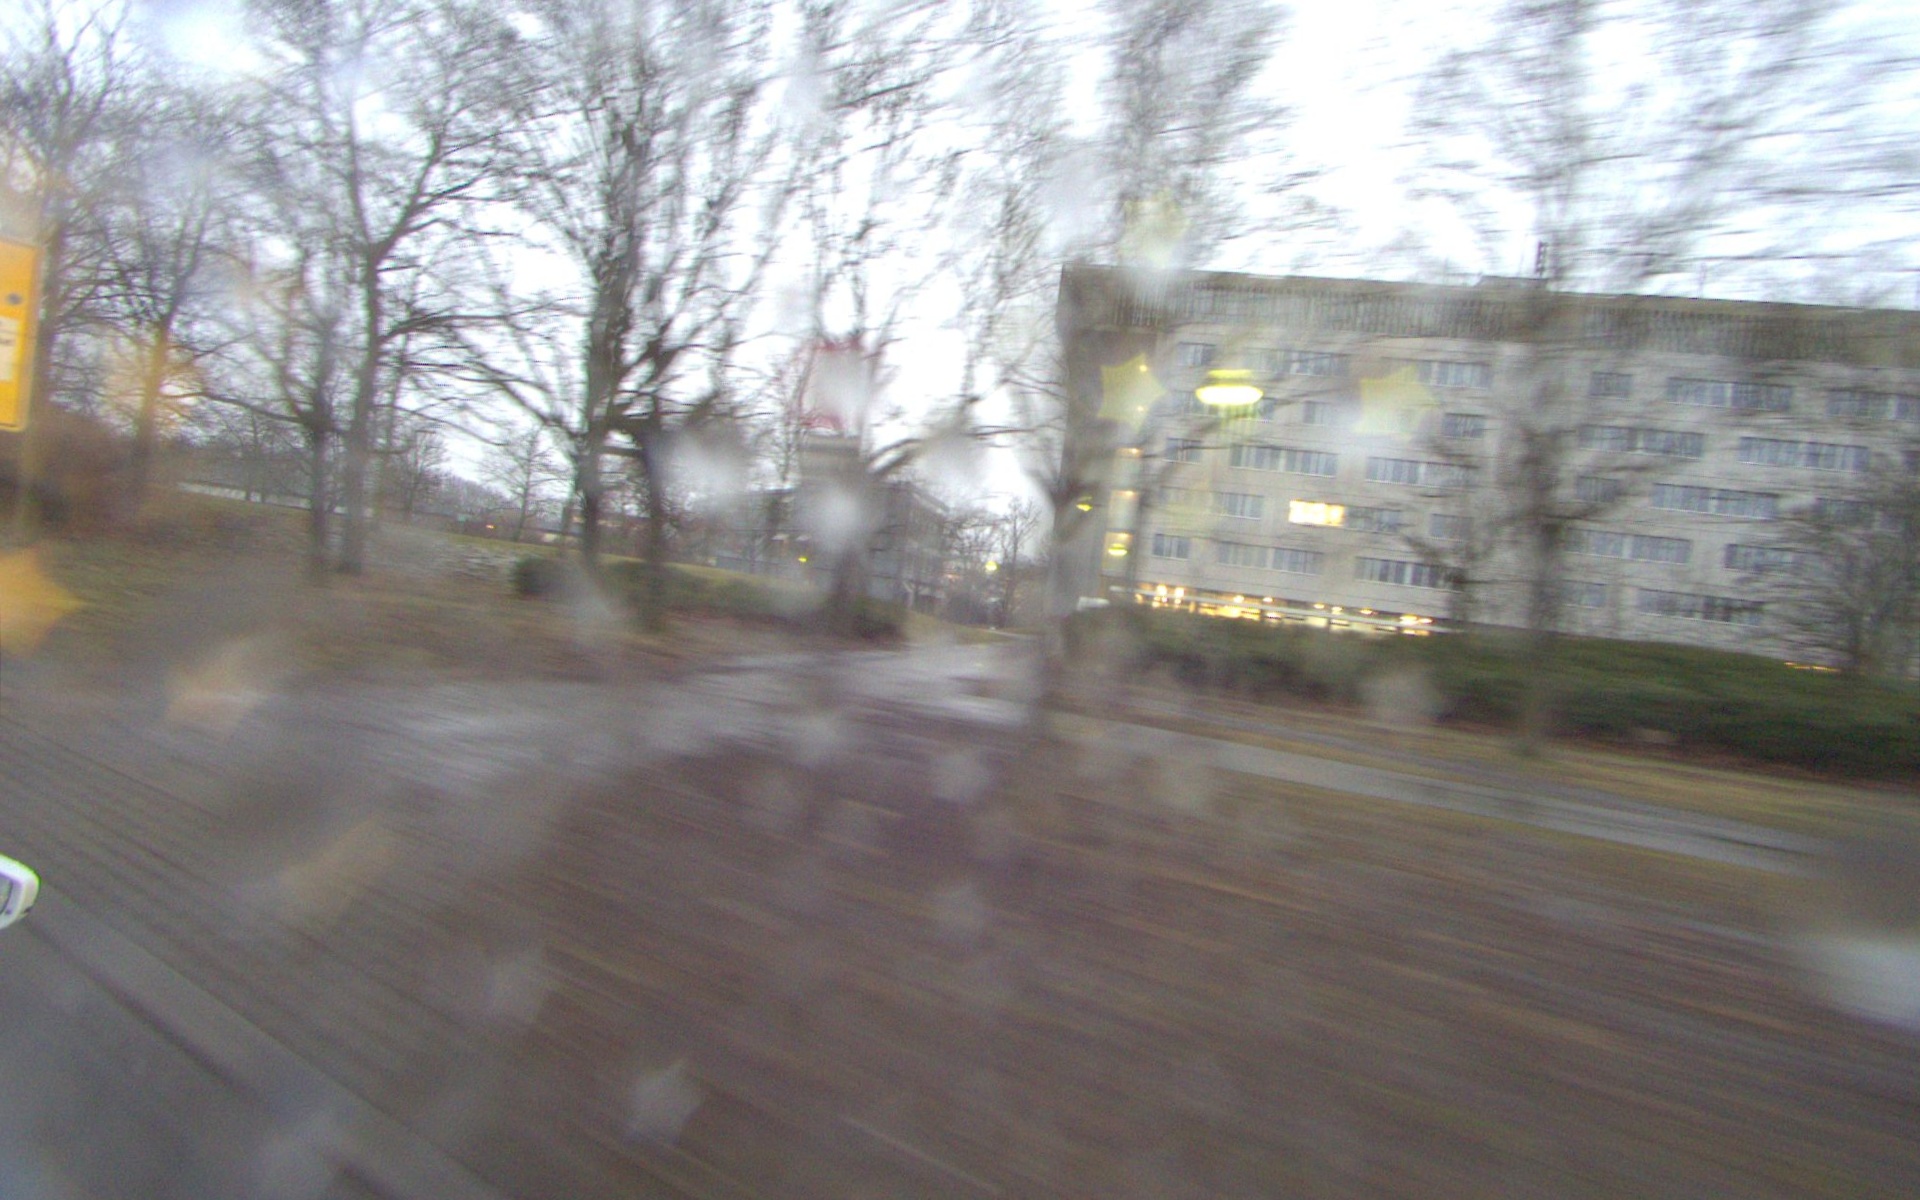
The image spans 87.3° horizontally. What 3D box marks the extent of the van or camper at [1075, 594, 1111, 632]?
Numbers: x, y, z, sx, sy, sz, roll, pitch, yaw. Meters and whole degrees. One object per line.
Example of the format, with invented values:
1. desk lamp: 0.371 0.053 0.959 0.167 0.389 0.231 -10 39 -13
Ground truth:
1. van or camper: 9.505 0.968 72.405 2.094 2.373 4.480 7 -1 5
